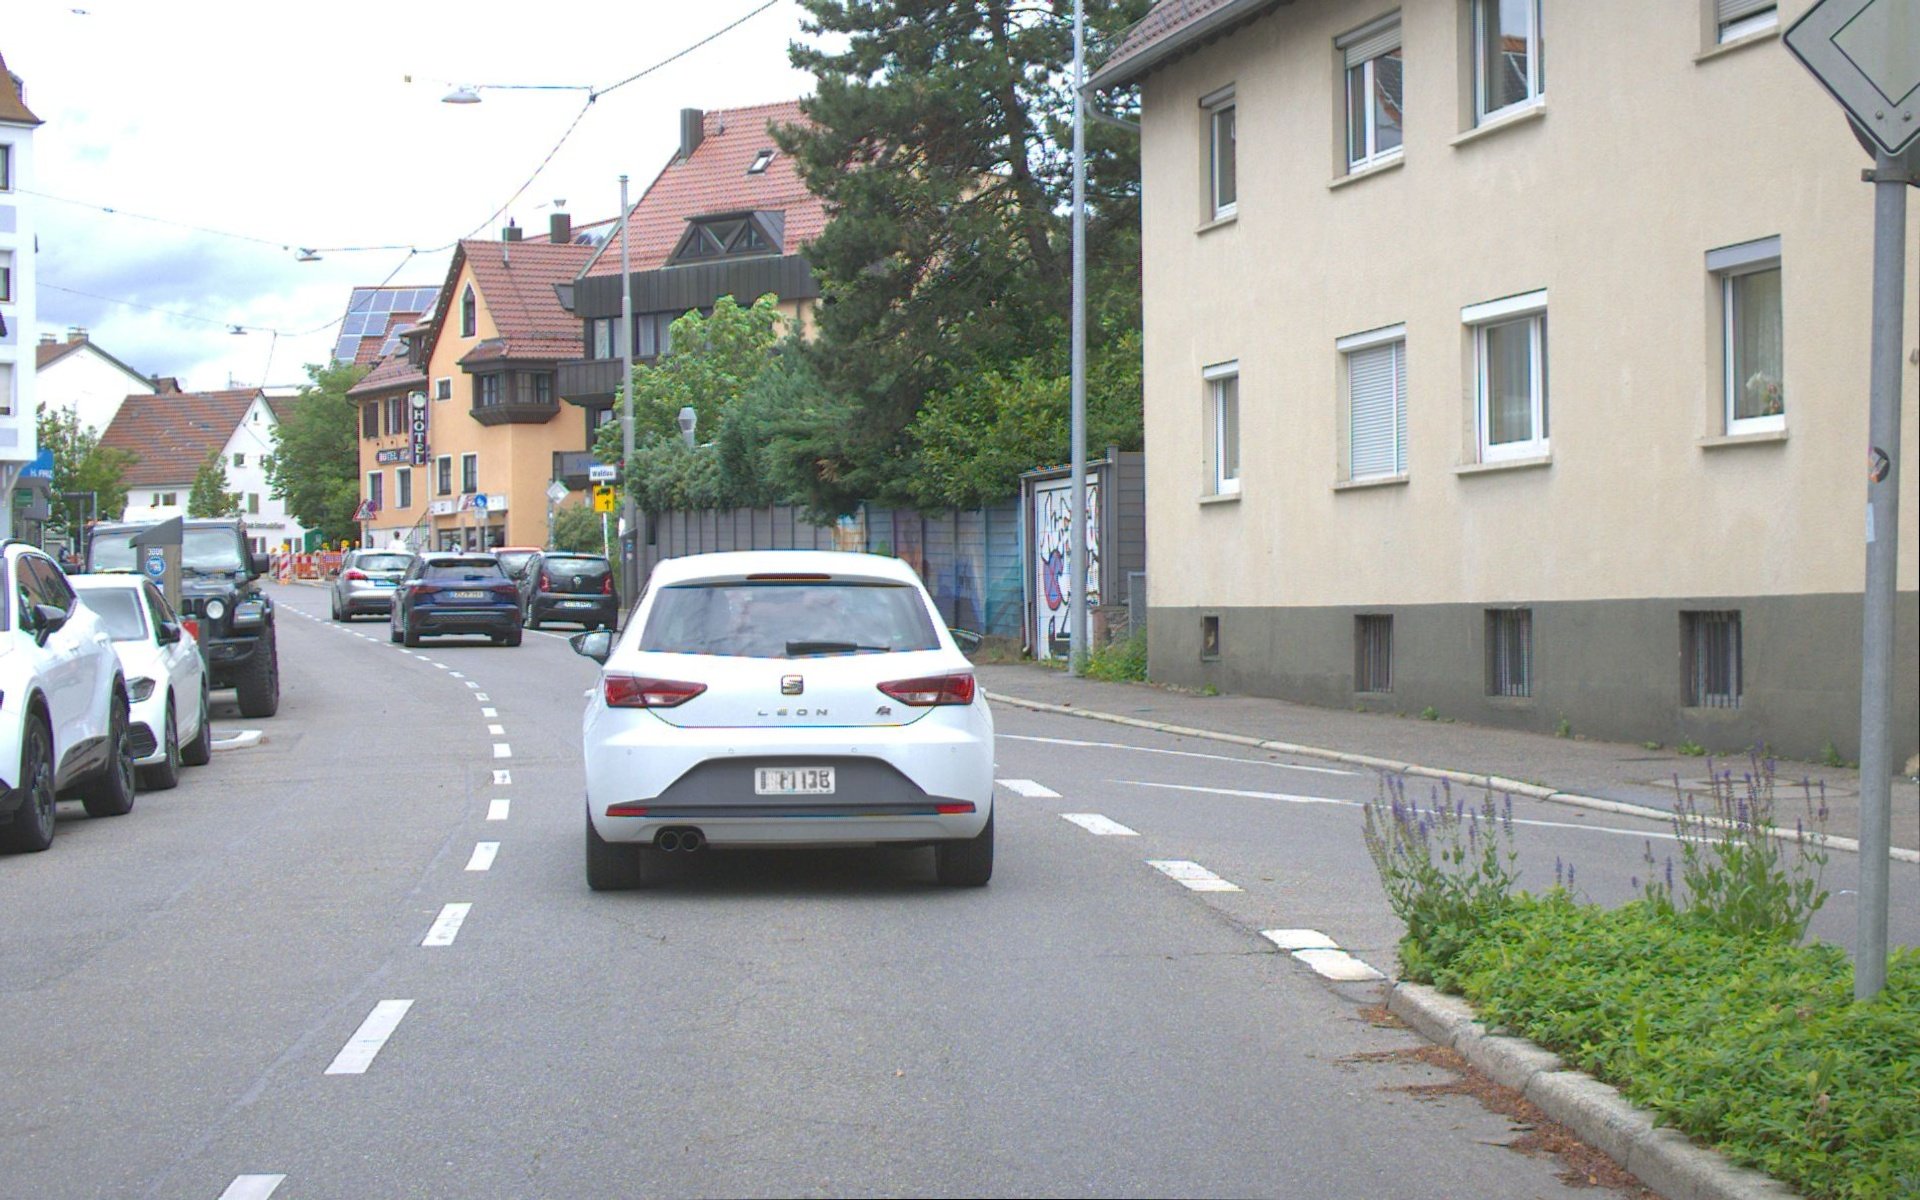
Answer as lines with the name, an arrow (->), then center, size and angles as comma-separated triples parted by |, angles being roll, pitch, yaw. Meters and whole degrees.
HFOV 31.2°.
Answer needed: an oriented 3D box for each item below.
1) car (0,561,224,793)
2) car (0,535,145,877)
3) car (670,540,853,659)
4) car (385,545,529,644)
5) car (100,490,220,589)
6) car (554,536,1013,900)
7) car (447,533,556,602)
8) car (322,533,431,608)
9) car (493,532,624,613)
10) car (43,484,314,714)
car -> -6.293, 0.472, 23.844 | 1.997, 1.431, 3.919 | 0, 1, -7
car -> -5.834, 0.468, 18.808 | 1.997, 1.627, 4.859 | 0, 1, -5
car -> -2.651, -0.035, 45.028 | 1.758, 1.447, 4.001 | 2, 1, -12
car -> -7.712, -0.112, 52.483 | 1.758, 1.447, 4.001 | 0, 1, -14
car -> -22.572, -1.719, 97.173 | 2.152, 2.677, 5.545 | 1, 1, -1
car -> -0.932, 0.433, 15.784 | 1.758, 1.447, 4.001 | 0, 1, -8
car -> -10.020, -0.728, 74.914 | 1.758, 1.447, 4.001 | 0, 1, -16
car -> -11.693, -0.616, 68.702 | 1.758, 1.447, 4.001 | 0, 1, -15
car -> -7.472, -0.530, 63.702 | 1.758, 1.447, 4.001 | 0, 1, -16
car -> -7.575, -0.072, 33.765 | 1.993, 2.006, 4.671 | -3, 2, -6
